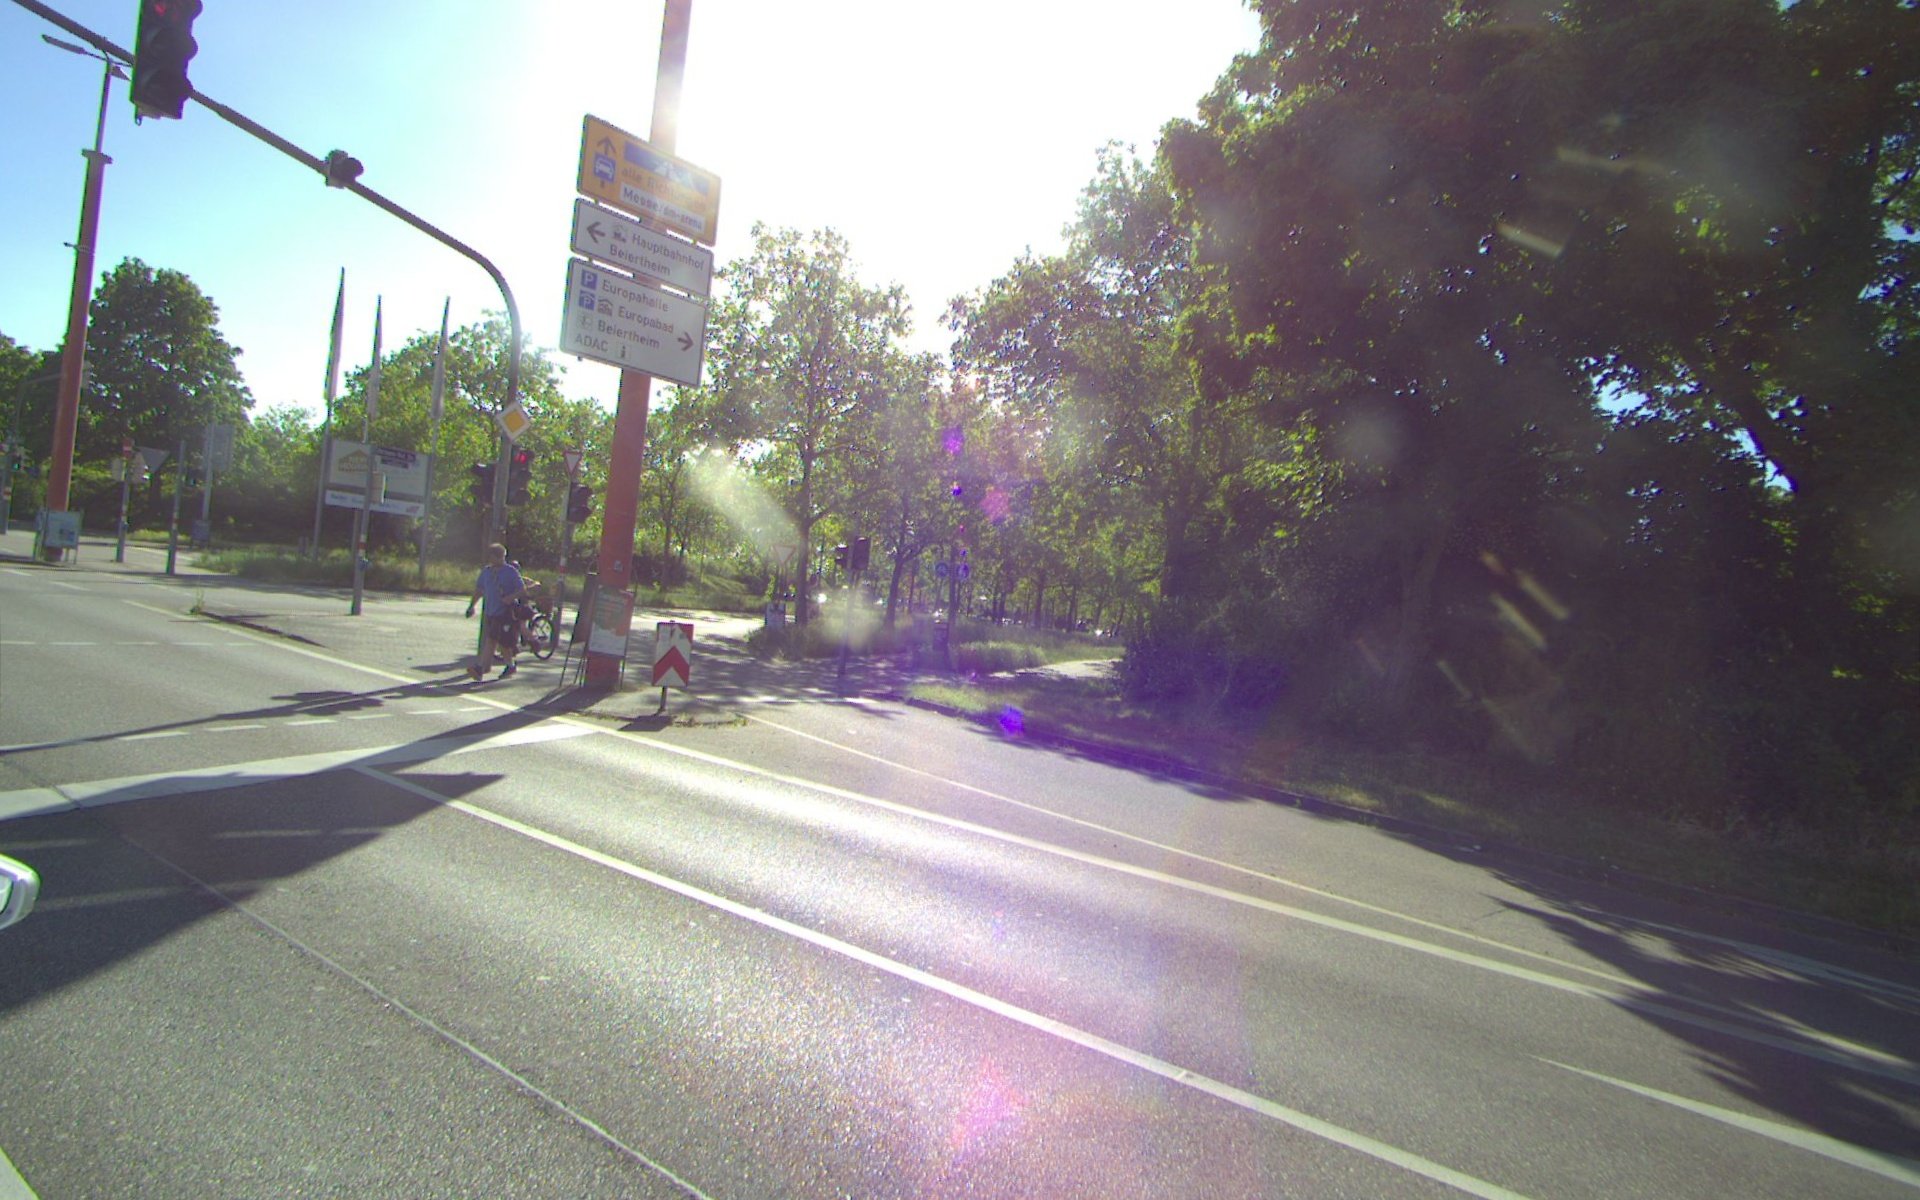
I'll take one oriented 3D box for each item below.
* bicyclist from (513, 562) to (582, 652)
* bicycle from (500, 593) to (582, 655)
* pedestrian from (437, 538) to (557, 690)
[{"bbox_3d":[-6.724,0.118,16.444,0.695,1.358,0.741,7,0,-3],"label":"bicyclist"},{"bbox_3d":[-6.769,0.369,16.345,0.550,0.889,2.167,7,-1,-6],"label":"bicycle"},{"bbox_3d":[-6.014,0.186,13.108,0.883,1.810,0.895,7,0,10],"label":"pedestrian"}]
